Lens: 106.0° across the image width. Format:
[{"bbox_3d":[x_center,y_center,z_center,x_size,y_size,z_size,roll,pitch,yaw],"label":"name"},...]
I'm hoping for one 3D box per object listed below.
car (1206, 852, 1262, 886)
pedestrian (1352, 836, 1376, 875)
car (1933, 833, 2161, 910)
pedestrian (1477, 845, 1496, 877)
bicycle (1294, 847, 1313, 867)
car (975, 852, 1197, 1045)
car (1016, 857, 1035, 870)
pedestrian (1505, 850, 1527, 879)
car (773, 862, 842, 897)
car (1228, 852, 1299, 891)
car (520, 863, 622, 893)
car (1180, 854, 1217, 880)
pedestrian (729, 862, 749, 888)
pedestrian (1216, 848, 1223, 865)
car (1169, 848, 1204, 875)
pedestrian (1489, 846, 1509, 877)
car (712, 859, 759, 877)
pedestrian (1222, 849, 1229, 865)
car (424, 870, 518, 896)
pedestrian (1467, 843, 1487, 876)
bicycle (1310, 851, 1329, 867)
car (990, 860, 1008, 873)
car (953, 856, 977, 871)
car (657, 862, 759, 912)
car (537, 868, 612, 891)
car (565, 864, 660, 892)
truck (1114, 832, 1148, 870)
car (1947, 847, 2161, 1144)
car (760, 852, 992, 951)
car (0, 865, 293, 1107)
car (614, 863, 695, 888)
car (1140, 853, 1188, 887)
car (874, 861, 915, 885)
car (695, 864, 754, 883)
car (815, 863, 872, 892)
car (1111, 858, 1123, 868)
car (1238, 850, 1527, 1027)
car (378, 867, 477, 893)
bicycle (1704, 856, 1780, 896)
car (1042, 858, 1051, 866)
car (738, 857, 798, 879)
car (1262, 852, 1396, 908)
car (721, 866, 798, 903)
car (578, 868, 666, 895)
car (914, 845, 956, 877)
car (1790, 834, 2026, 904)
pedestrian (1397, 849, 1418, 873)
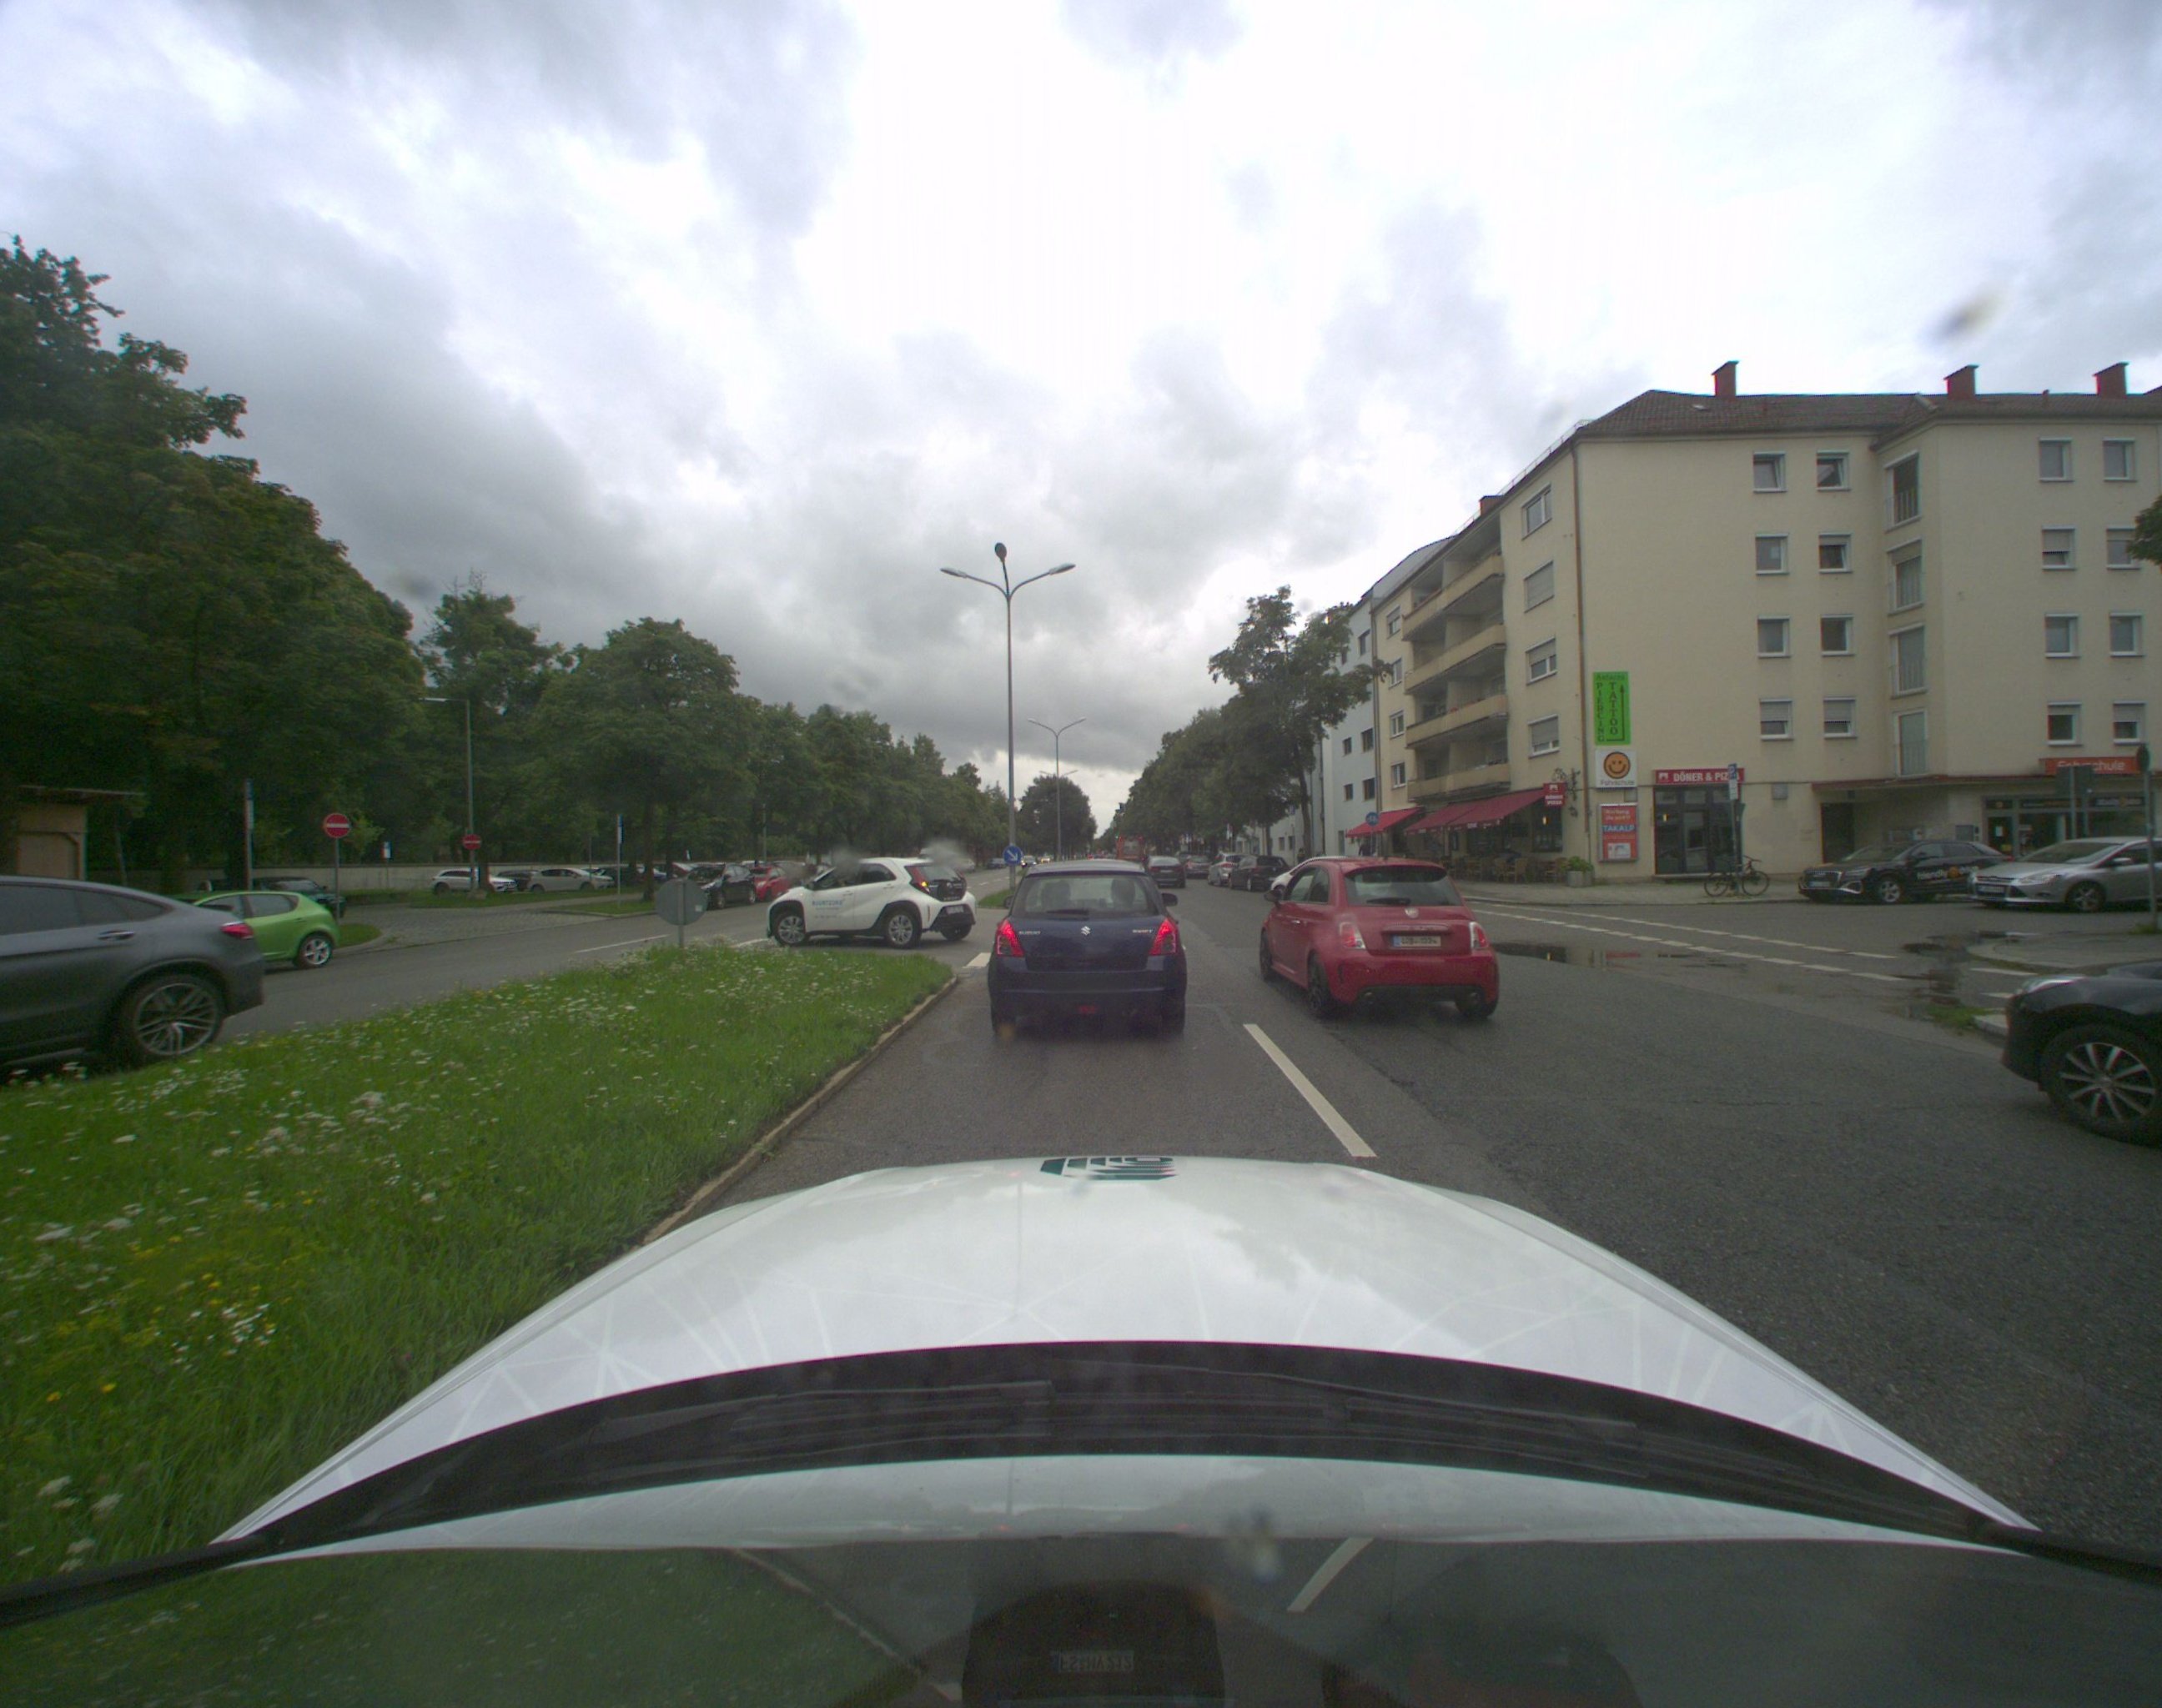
[{"bbox_3d":[7.225,0.673,38.822,1.823,1.522,4.523,-1,0,0],"label":"car"},{"bbox_3d":[14.287,0.086,41.126,0.870,1.929,0.757,-1,0,-15],"label":"pedestrian"},{"bbox_3d":[20.697,0.326,16.708,4.189,1.442,2.002,-1,0,4],"label":"car"},{"bbox_3d":[16.374,0.268,32.896,0.536,1.268,0.487,-1,0,0],"label":"pedestrian"},{"bbox_3d":[16.505,0.190,60.366,0.700,1.407,2.593,-3,0,1],"label":"bicycle"},{"bbox_3d":[0.109,0.755,8.495,1.746,1.505,4.002,-1,0,2],"label":"car"},{"bbox_3d":[-6.565,1.117,97.198,1.809,1.448,4.782,-2,0,0],"label":"car"},{"bbox_3d":[16.214,0.397,30.348,0.536,1.054,0.487,-1,0,1],"label":"pedestrian"},{"bbox_3d":[-13.494,1.231,40.432,1.814,1.599,4.115,-1,0,3],"label":"car"},{"bbox_3d":[7.395,0.661,33.307,1.825,1.473,3.883,-1,0,-4],"label":"car"},{"bbox_3d":[-26.601,1.225,42.609,3.980,1.442,1.997,-1,0,-5],"label":"car"},{"bbox_3d":[7.364,0.773,51.365,1.823,1.522,3.770,-1,0,0],"label":"car"},{"bbox_3d":[-20.799,1.265,49.516,0.792,1.495,0.856,-2,0,1],"label":"pedestrian"},{"bbox_3d":[14.463,0.293,84.965,0.498,1.733,0.733,-3,0,1],"label":"pedestrian"},{"bbox_3d":[7.264,0.525,56.469,1.823,1.746,4.507,-1,0,0],"label":"car"},{"bbox_3d":[16.417,0.289,31.986,0.536,1.214,0.487,-1,0,1],"label":"pedestrian"},{"bbox_3d":[-39.664,1.606,93.495,4.490,2.034,2.000,-1,0,0],"label":"car"},{"bbox_3d":[15.045,0.293,84.964,0.547,1.629,0.641,-3,0,1],"label":"pedestrian"},{"bbox_3d":[-38.430,1.816,51.381,4.487,1.442,2.002,-1,0,3],"label":"car"},{"bbox_3d":[16.535,0.239,33.997,0.536,1.339,0.552,-1,0,0],"label":"pedestrian"},{"bbox_3d":[16.433,0.332,56.114,0.619,1.046,2.196,-5,0,2],"label":"bicycle"},{"bbox_3d":[-11.032,1.659,110.065,1.881,1.537,4.313,-4,0,-1],"label":"car"},{"bbox_3d":[-12.357,0.997,87.008,1.851,1.491,4.141,-1,-1,0],"label":"car"},{"bbox_3d":[-13.728,1.169,30.287,1.815,1.700,4.238,-1,-1,0],"label":"car"},{"bbox_3d":[-38.874,1.929,62.570,4.490,1.625,2.000,-1,0,0],"label":"car"},{"bbox_3d":[-26.170,1.313,45.609,4.123,1.442,1.999,-1,0,-2],"label":"car"},{"bbox_3d":[5.018,-0.321,84.071,3.030,3.557,13.681,-1,0,2],"label":"truck"},{"bbox_3d":[6.216,0.717,3.126,1.638,1.477,3.957,-1,0,1],"label":"car"},{"bbox_3d":[-3.652,0.787,14.515,3.674,1.553,1.838,-1,0,26],"label":"car"},{"bbox_3d":[-8.230,0.933,5.247,1.815,1.589,4.503,-1,0,1],"label":"car"},{"bbox_3d":[-26.621,1.303,50.966,3.980,1.442,1.997,-1,0,-5],"label":"car"},{"bbox_3d":[3.795,0.705,37.867,1.815,1.477,4.691,1,0,1],"label":"car"},{"bbox_3d":[-13.139,1.314,57.612,1.816,1.527,4.298,-3,-1,0],"label":"car"},{"bbox_3d":[-29.548,1.600,67.572,3.980,1.442,1.997,-1,0,-5],"label":"car"},{"bbox_3d":[-13.366,1.282,46.057,1.814,1.409,4.004,-3,0,3],"label":"car"},{"bbox_3d":[5.755,1.415,131.499,1.822,1.522,3.772,-1,0,1],"label":"car"},{"bbox_3d":[3.005,0.724,9.144,1.712,1.500,4.301,-1,0,1],"label":"car"},{"bbox_3d":[-39.360,1.557,49.124,4.484,1.442,2.003,-1,0,5],"label":"car"},{"bbox_3d":[17.501,0.573,21.581,1.532,1.011,0.554,-1,0,4],"label":"bicycle"},{"bbox_3d":[-7.594,1.714,178.420,1.756,1.537,4.312,-4,0,-1],"label":"car"},{"bbox_3d":[-24.734,1.103,64.389,3.971,1.570,1.816,-1,0,2],"label":"car"},{"bbox_3d":[7.147,0.713,23.722,1.699,1.490,3.397,-1,0,-35],"label":"car"},{"bbox_3d":[-13.954,1.292,35.549,1.815,1.479,3.809,-1,-1,0],"label":"car"},{"bbox_3d":[-26.985,1.593,47.992,3.980,1.442,1.997,-1,0,-5],"label":"car"},{"bbox_3d":[-12.828,0.569,71.962,2.132,2.643,7.107,-3,0,2],"label":"car"},{"bbox_3d":[19.694,0.349,19.509,3.913,1.519,1.730,-1,0,-1],"label":"car"},{"bbox_3d":[15.997,0.338,39.911,0.741,1.163,0.647,-1,0,1],"label":"pedestrian"}]
